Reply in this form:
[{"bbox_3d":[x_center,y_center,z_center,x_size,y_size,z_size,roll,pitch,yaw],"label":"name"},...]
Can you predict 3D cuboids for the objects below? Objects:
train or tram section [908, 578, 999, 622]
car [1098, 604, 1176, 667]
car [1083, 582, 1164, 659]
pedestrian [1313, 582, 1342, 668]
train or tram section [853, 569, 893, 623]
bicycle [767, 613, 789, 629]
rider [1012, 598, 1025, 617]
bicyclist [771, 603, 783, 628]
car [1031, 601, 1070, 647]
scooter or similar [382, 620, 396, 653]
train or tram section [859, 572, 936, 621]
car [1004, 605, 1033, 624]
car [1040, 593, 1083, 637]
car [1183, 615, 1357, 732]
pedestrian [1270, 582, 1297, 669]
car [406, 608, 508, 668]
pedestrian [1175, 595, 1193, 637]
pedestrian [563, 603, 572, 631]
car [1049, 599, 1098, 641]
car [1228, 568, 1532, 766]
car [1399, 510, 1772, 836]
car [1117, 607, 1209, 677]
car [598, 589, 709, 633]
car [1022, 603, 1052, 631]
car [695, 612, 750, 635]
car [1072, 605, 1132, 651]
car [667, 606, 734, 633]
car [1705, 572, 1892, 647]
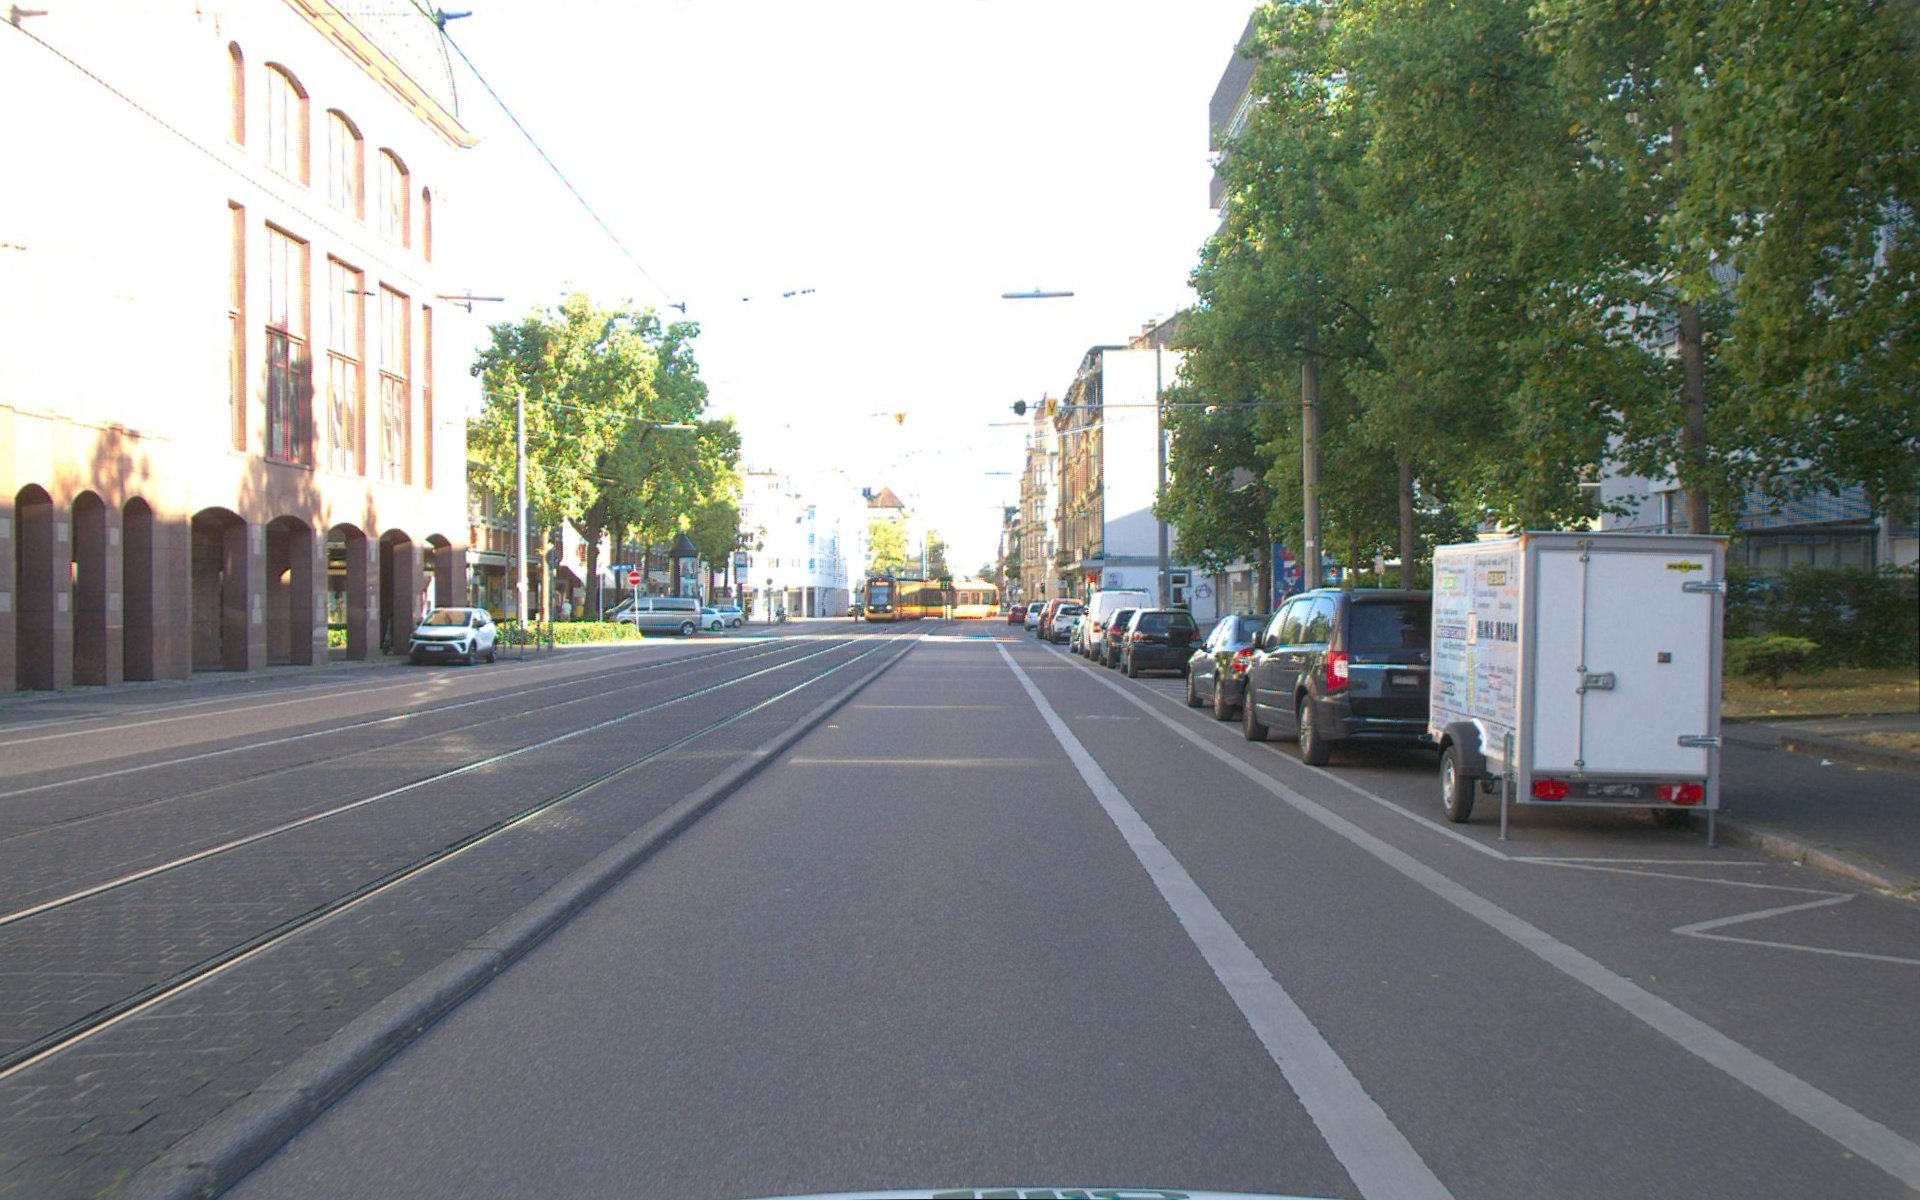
[{"bbox_3d":[-0.481,0.063,153.456,2.645,3.818,11.254,2,0,33],"label":"train or tram section"},{"bbox_3d":[4.446,0.865,42.058,1.587,1.499,3.971,1,0,1],"label":"car"},{"bbox_3d":[4.675,0.568,47.930,1.930,2.049,4.559,-2,0,1],"label":"car"},{"bbox_3d":[7.584,0.512,34.161,0.488,1.739,0.454,-2,2,19],"label":"pedestrian"},{"bbox_3d":[-6.804,-0.294,130.323,2.637,4.029,12.086,2,0,-1],"label":"train or tram section"},{"bbox_3d":[-14.951,1.741,135.748,0.695,1.261,1.993,2,0,-44],"label":"bicycle"},{"bbox_3d":[4.849,0.608,137.238,0.706,1.507,0.874,2,0,-40],"label":"rider"},{"bbox_3d":[-15.022,1.262,135.777,0.695,2.049,0.713,2,-1,-43],"label":"bicyclist"},{"bbox_3d":[4.199,1.077,77.113,1.588,2.042,3.831,1,0,0],"label":"car"},{"bbox_3d":[-16.985,1.081,49.198,0.357,0.955,0.967,2,0,-19],"label":"scooter or similar"},{"bbox_3d":[-5.260,-0.212,142.462,2.635,3.946,12.851,2,0,16],"label":"train or tram section"},{"bbox_3d":[4.469,1.094,126.228,2.023,1.413,4.225,2,0,0],"label":"car"},{"bbox_3d":[4.432,0.659,72.742,1.588,1.845,4.082,1,0,0],"label":"car"},{"bbox_3d":[4.474,1.006,24.511,1.681,1.452,4.675,0,1,0],"label":"car"},{"bbox_3d":[6.723,0.527,34.353,0.417,1.739,0.454,-2,3,18],"label":"pedestrian"},{"bbox_3d":[-14.530,1.072,47.998,1.832,1.628,4.252,0,0,-2],"label":"car"},{"bbox_3d":[9.427,0.680,69.586,0.647,1.752,0.835,0,-1,1],"label":"pedestrian"},{"bbox_3d":[-19.586,0.859,82.561,0.357,1.367,0.480,2,0,-20],"label":"pedestrian"},{"bbox_3d":[4.545,0.777,66.653,1.687,1.595,4.082,-1,0,0],"label":"car"},{"bbox_3d":[4.353,0.637,18.053,1.910,1.819,5.180,1,0,-1],"label":"car"},{"bbox_3d":[4.648,0.502,12.853,1.669,2.157,3.708,0,-1,3],"label":"car"},{"bbox_3d":[4.440,0.886,36.597,1.587,1.457,3.985,0,0,1],"label":"car"},{"bbox_3d":[-15.913,0.606,85.978,5.201,2.078,2.392,2,-2,-32],"label":"car"},{"bbox_3d":[4.623,1.024,99.553,1.588,1.582,4.082,1,0,0],"label":"car"},{"bbox_3d":[-16.598,1.653,115.664,3.485,1.507,1.565,2,0,-32],"label":"car"},{"bbox_3d":[4.619,0.902,54.190,1.588,1.394,3.930,1,0,0],"label":"car"},{"bbox_3d":[-16.496,1.250,105.251,3.829,1.656,1.856,2,0,-31],"label":"car"},{"bbox_3d":[18.534,0.156,36.813,1.828,1.520,4.436,-1,1,-1],"label":"car"}]
